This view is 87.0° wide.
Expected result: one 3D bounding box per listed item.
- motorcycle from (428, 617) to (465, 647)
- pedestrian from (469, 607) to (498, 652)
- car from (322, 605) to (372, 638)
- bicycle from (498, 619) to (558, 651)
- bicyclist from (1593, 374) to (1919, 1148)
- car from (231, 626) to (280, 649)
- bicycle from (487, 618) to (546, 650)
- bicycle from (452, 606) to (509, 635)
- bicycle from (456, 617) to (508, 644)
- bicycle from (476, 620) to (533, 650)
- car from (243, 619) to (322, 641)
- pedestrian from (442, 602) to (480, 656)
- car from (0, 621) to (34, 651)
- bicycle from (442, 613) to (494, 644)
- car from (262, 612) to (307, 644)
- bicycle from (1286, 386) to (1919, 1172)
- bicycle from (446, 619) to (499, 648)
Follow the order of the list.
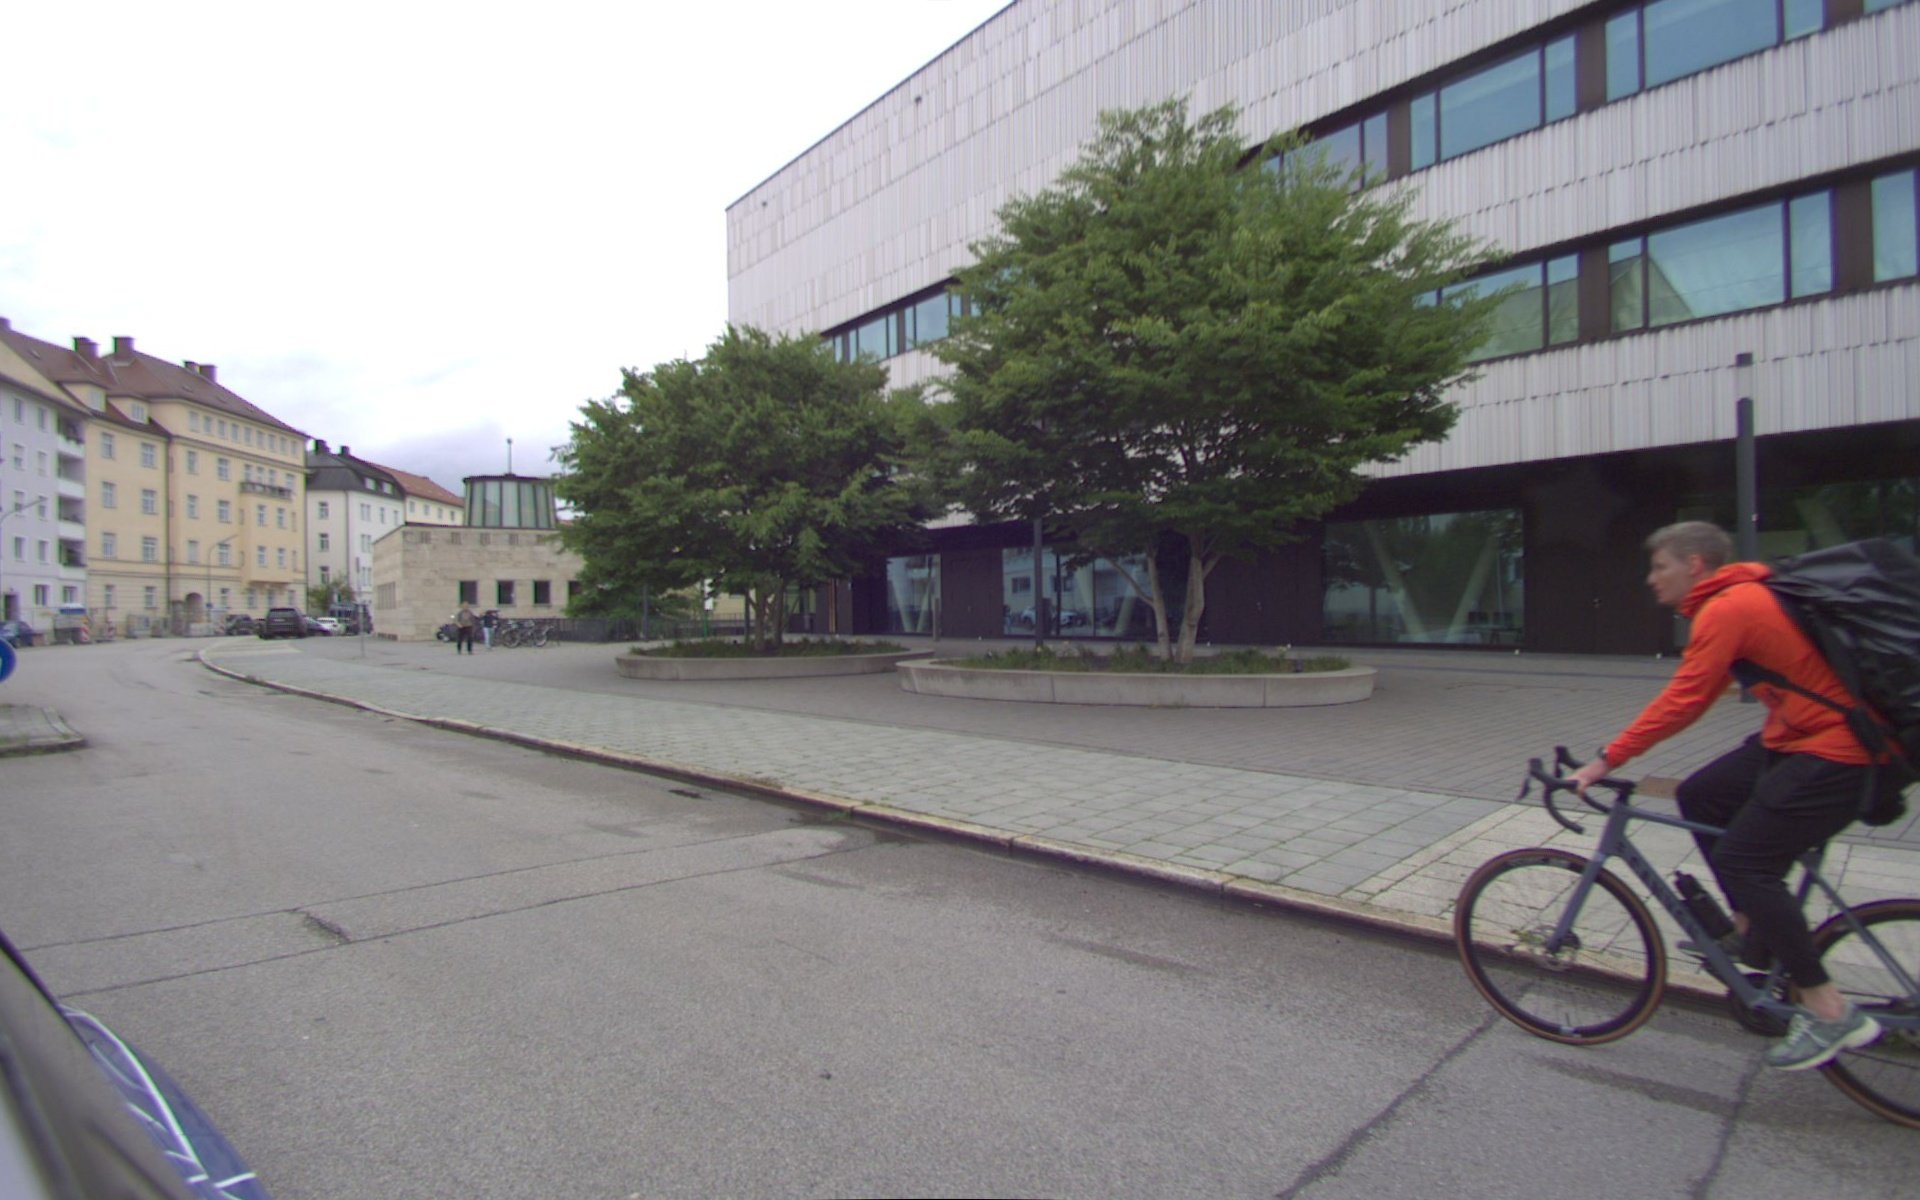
[{"bbox_3d":[-26.050,1.596,51.313,1.544,1.416,0.516,-3,0,-38],"label":"motorcycle"},{"bbox_3d":[-17.504,1.078,37.184,0.603,1.613,0.639,-3,0,26],"label":"pedestrian"},{"bbox_3d":[-49.851,1.737,82.422,2.114,2.594,6.230,0,-1,-19],"label":"car"},{"bbox_3d":[-16.697,1.351,39.135,2.021,1.119,0.617,-3,0,-43],"label":"bicycle"},{"bbox_3d":[2.583,0.440,3.189,0.757,2.029,0.769,4,-5,-40],"label":"bicyclist"},{"bbox_3d":[-60.408,3.227,86.850,1.814,1.743,3.734,-3,0,-5],"label":"car"},{"bbox_3d":[-17.609,1.342,40.181,2.021,1.119,0.617,-3,0,-43],"label":"bicycle"},{"bbox_3d":[-19.906,0.843,42.032,0.617,1.119,2.023,-3,0,43],"label":"bicycle"},{"bbox_3d":[-21.944,1.385,46.502,2.019,1.119,0.618,-3,0,-39],"label":"bicycle"},{"bbox_3d":[-18.674,1.435,41.511,2.021,1.119,0.617,-3,0,-43],"label":"bicycle"},{"bbox_3d":[-44.948,2.024,67.236,1.744,1.384,3.963,1,-1,32],"label":"car"},{"bbox_3d":[-17.195,0.994,34.900,1.014,1.796,0.778,-1,1,40],"label":"pedestrian"},{"bbox_3d":[-48.504,1.809,50.920,1.805,1.453,4.642,1,-2,-30],"label":"car"},{"bbox_3d":[-23.312,1.337,47.962,2.072,1.362,0.614,-3,0,-40],"label":"bicycle"},{"bbox_3d":[-39.741,1.641,59.640,1.966,1.785,4.828,-1,-1,-31],"label":"car"},{"bbox_3d":[2.508,0.481,3.182,0.738,2.029,2.852,2,-3,-39],"label":"bicycle"},{"bbox_3d":[-21.567,1.477,44.807,2.018,1.119,0.618,-3,0,-36],"label":"bicycle"}]
